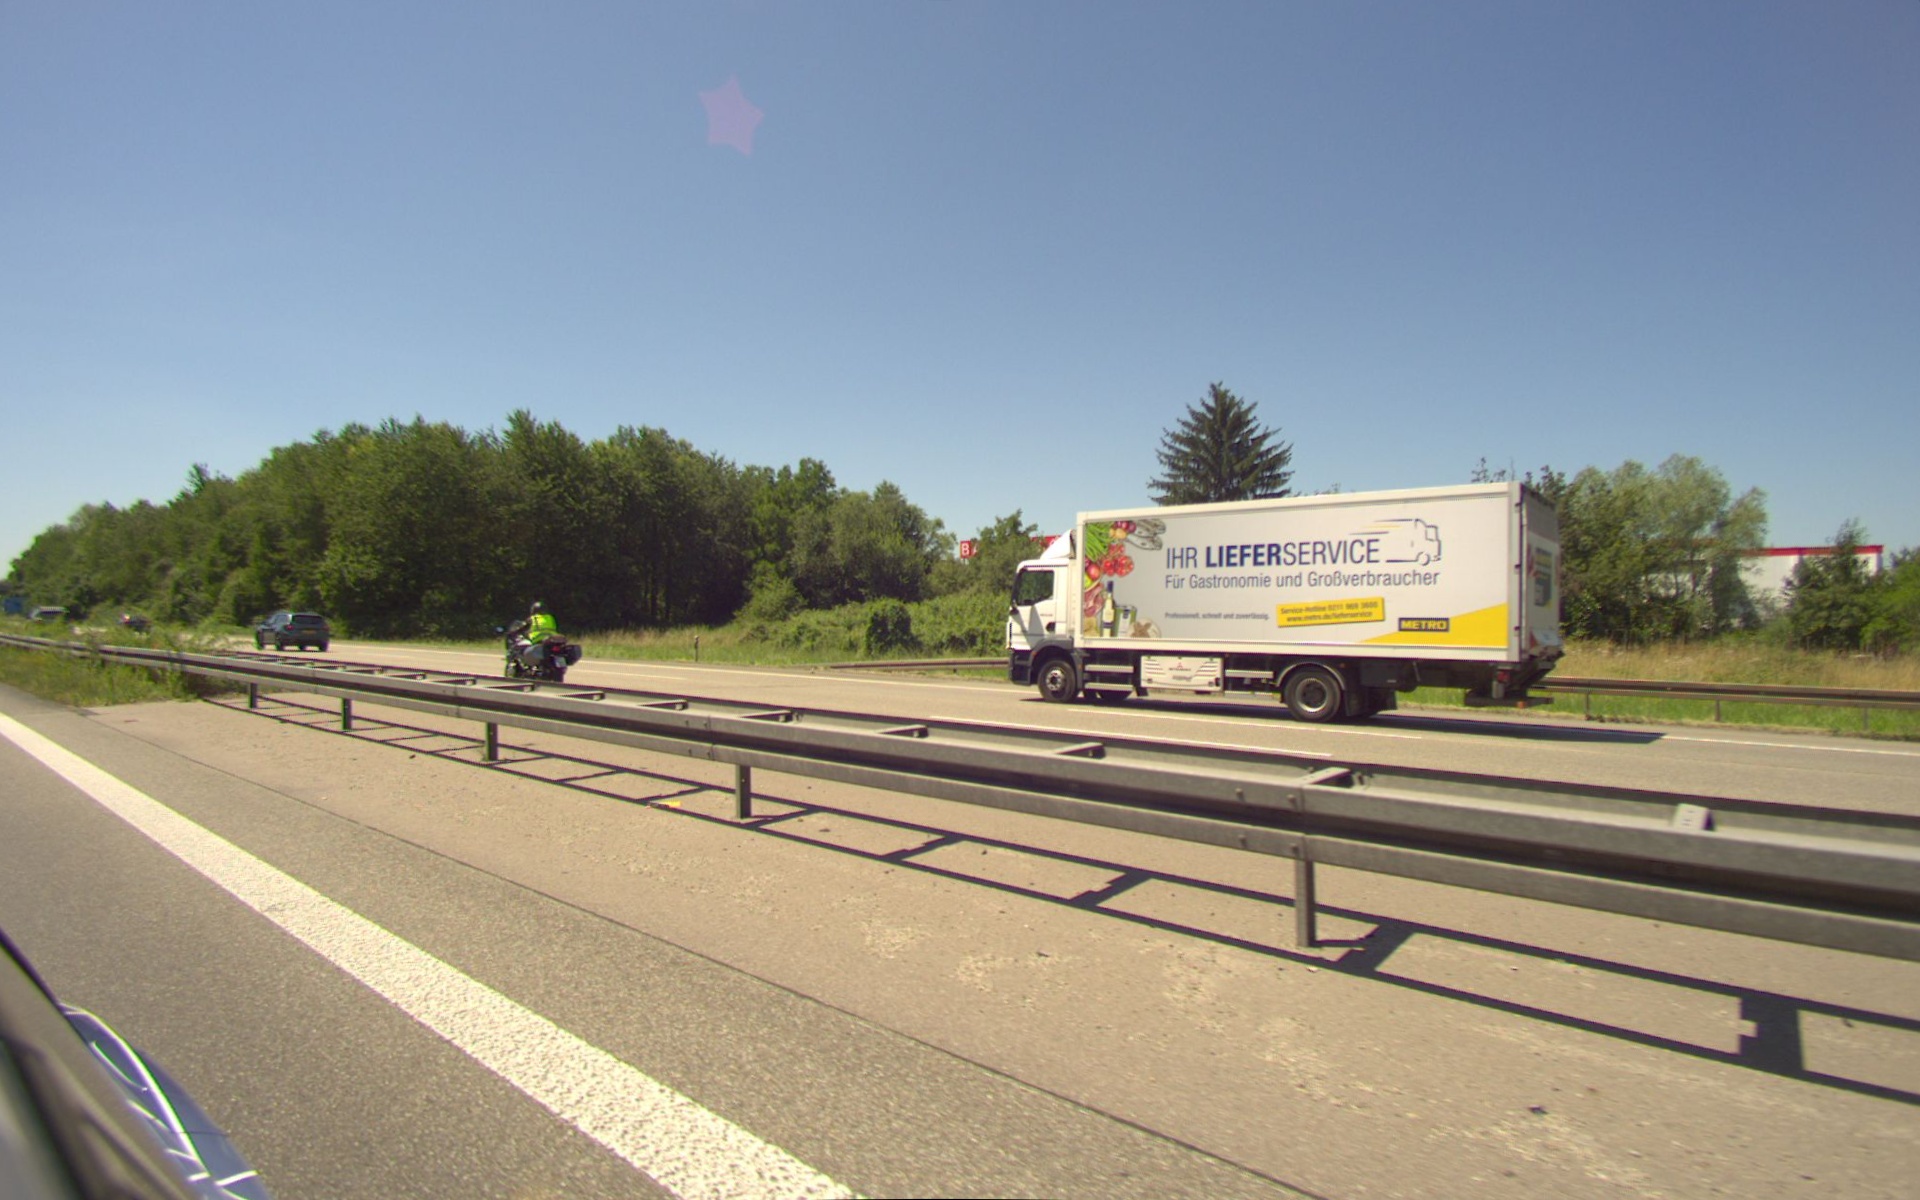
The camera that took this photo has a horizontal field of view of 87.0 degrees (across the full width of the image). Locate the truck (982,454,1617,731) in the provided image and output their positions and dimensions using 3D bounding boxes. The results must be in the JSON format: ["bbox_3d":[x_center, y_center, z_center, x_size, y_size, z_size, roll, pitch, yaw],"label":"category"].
[{"bbox_3d":[5.272,-0.071,17.826,10.265,3.646,2.963,-1,0,41],"label":"truck"}]

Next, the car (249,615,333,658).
[{"bbox_3d":[-28.105,1.524,42.477,4.184,1.685,1.826,-1,-3,41],"label":"car"}]

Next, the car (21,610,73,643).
[{"bbox_3d":[-52.427,1.503,58.119,3.511,1.795,1.821,-1,0,41],"label":"car"}]

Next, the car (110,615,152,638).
[{"bbox_3d":[-63.712,1.990,77.767,3.998,1.673,1.843,-1,0,41],"label":"car"}]

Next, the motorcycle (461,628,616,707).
[{"bbox_3d":[-7.746,1.167,18.437,3.809,1.247,1.024,-1,0,41],"label":"motorcycle"}]

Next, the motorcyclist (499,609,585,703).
[{"bbox_3d":[-7.558,0.985,18.302,1.151,1.611,1.030,-1,0,41],"label":"motorcyclist"}]
